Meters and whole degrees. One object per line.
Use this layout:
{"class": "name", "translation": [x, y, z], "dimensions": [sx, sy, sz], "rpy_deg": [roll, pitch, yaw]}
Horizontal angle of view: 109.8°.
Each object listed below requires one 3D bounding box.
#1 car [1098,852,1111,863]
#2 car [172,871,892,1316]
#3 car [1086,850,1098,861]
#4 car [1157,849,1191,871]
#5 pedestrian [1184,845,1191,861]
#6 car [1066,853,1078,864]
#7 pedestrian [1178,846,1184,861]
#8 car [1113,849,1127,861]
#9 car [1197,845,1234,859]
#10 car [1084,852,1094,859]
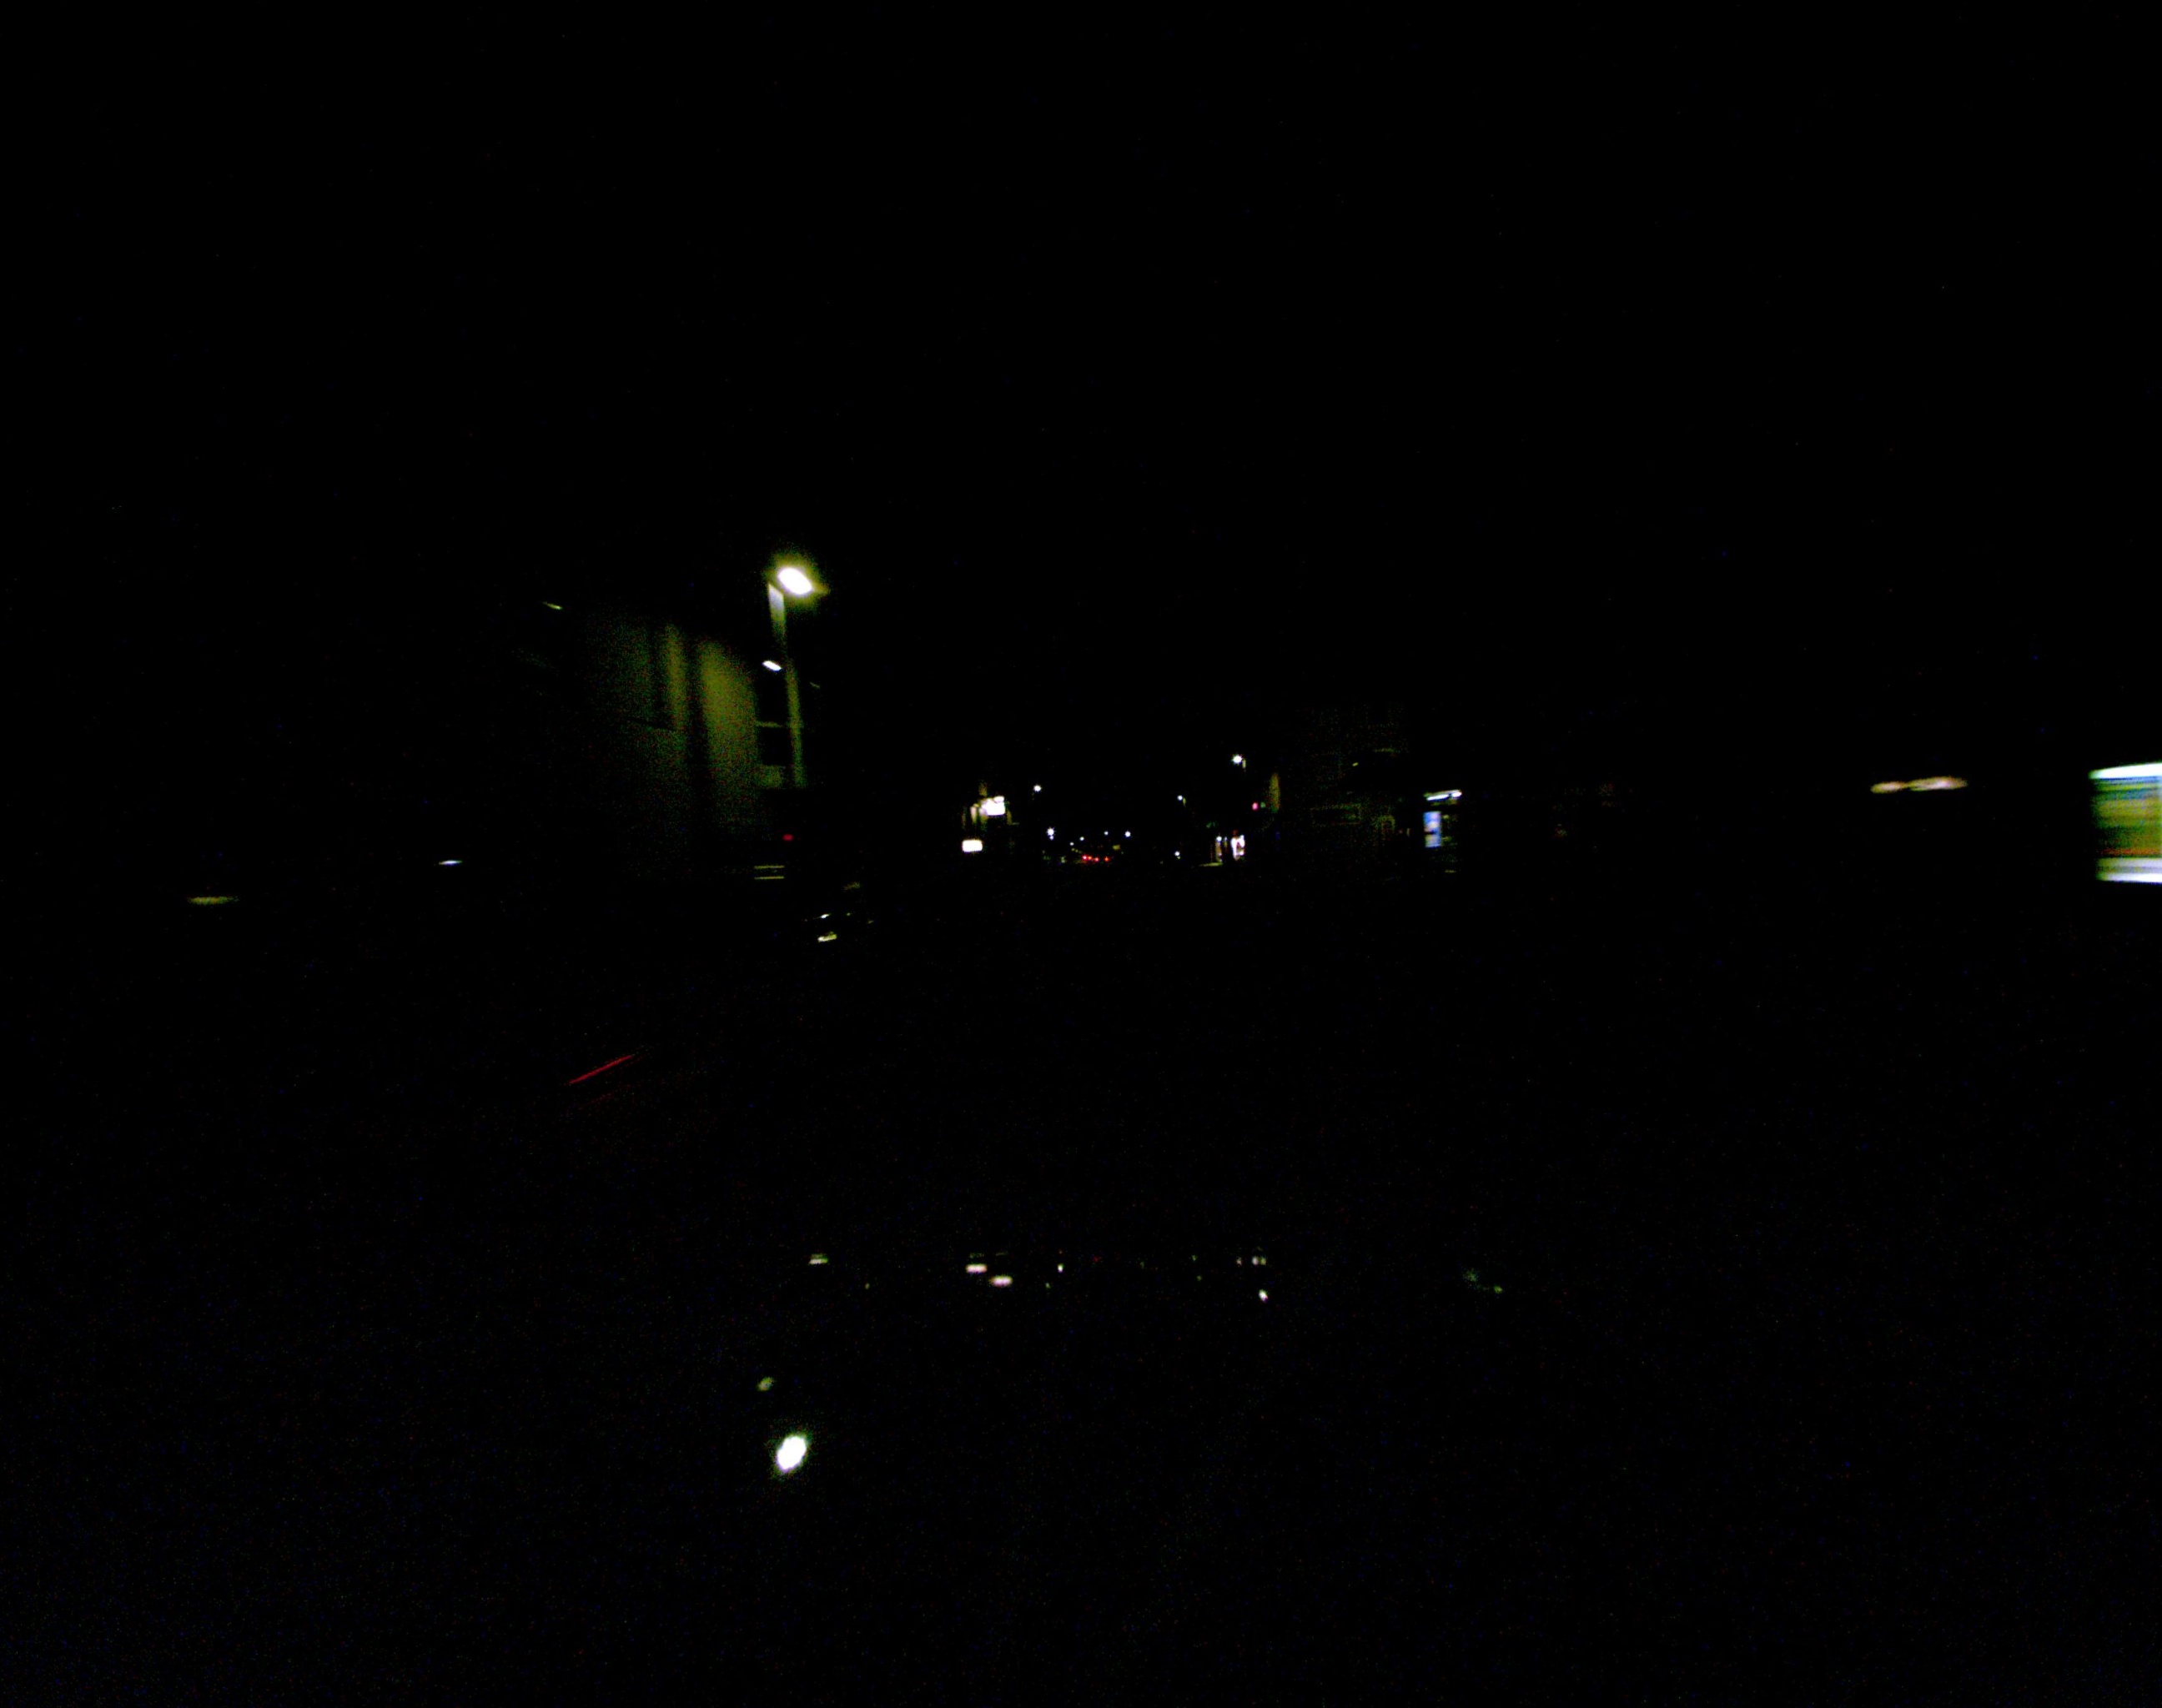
{"class": "car", "translation": [3.245, 0.449, 107.633], "dimensions": [1.721, 1.420, 3.815], "rpy_deg": [-3, 0, 1]}
{"class": "car", "translation": [-2.669, 0.990, 5.092], "dimensions": [1.747, 1.560, 4.208], "rpy_deg": [-2, 0, -1]}
{"class": "car", "translation": [1.850, 0.260, 127.192], "dimensions": [1.752, 1.635, 4.306], "rpy_deg": [-2, 0, -2]}
{"class": "car", "translation": [7.091, 0.431, 58.413], "dimensions": [1.901, 1.411, 4.930], "rpy_deg": [-4, 0, 1]}
{"class": "pedestrian", "translation": [11.172, -0.097, 79.582], "dimensions": [0.529, 1.579, 0.665], "rpy_deg": [-3, 1, -6]}
{"class": "car", "translation": [-1.277, 0.571, 106.889], "dimensions": [1.606, 1.474, 3.698], "rpy_deg": [-2, 0, -2]}
{"class": "pedestrian", "translation": [10.513, -0.038, 79.823], "dimensions": [0.529, 1.579, 0.666], "rpy_deg": [-3, 1, -1]}
{"class": "car", "translation": [5.731, 0.165, 112.417], "dimensions": [1.814, 1.637, 3.803], "rpy_deg": [-5, 0, 0]}
{"class": "car", "translation": [14.674, -0.243, 83.033], "dimensions": [3.833, 1.408, 1.652], "rpy_deg": [-2, 1, 2]}
{"class": "car", "translation": [1.485, 0.290, 141.658], "dimensions": [1.822, 1.271, 3.916], "rpy_deg": [-3, 0, 0]}
